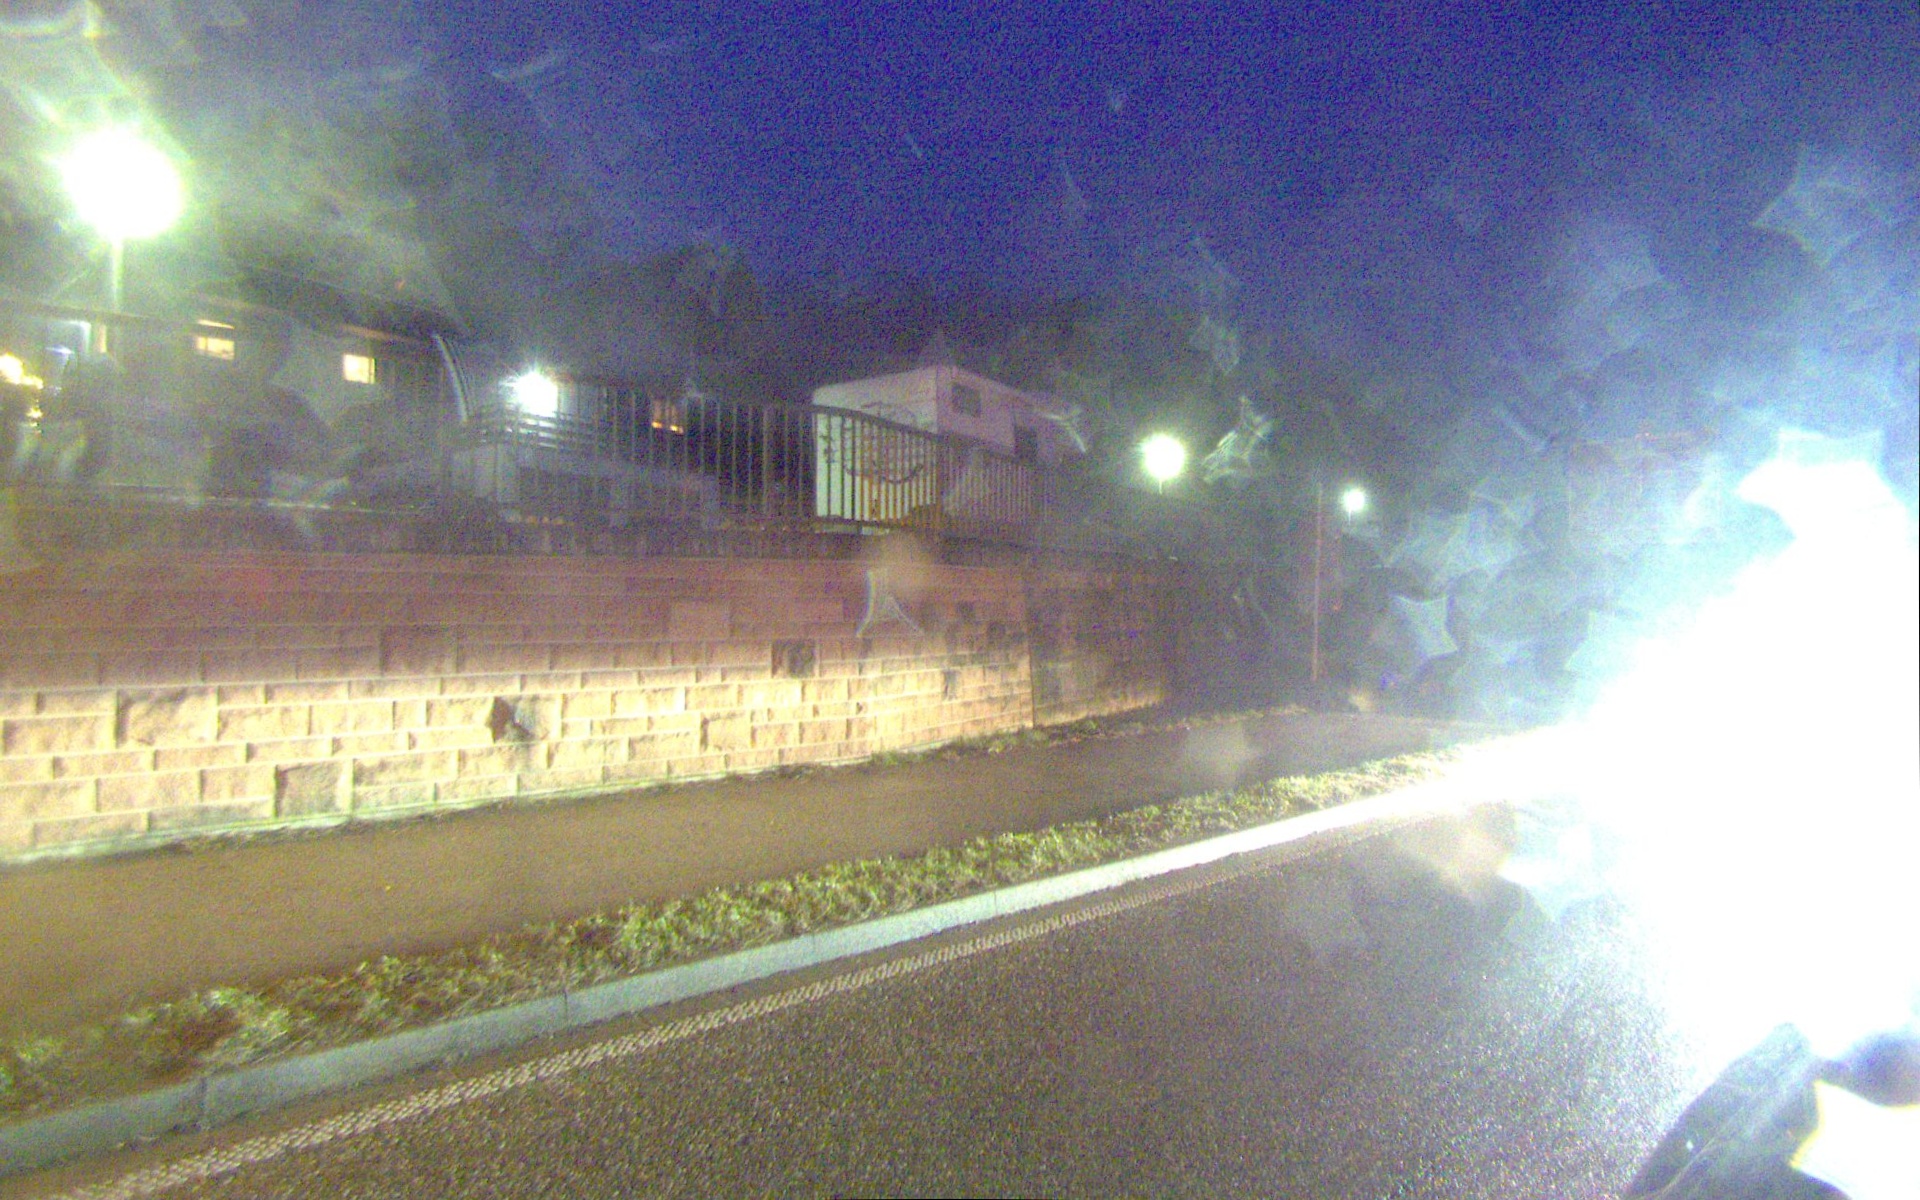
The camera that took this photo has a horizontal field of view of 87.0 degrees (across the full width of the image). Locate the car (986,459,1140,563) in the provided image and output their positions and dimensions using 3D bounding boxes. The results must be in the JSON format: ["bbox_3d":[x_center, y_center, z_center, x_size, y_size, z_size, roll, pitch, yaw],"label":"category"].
[{"bbox_3d":[2.445,-1.935,23.253,1.985,2.039,3.954,0,0,32],"label":"car"}]

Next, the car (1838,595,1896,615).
[{"bbox_3d":[92.769,0.484,103.540,1.958,2.039,4.008,0,0,-22],"label":"car"}]

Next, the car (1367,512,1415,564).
[{"bbox_3d":[25.069,-3.536,58.754,1.922,2.810,4.206,0,0,32],"label":"car"}]

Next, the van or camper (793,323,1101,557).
[{"bbox_3d":[0.079,-2.214,16.238,2.394,2.828,5.712,0,0,30],"label":"van or camper"}]

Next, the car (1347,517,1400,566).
[{"bbox_3d":[22.202,-3.077,54.229,1.922,2.451,4.206,0,0,32],"label":"car"}]

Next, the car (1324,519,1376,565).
[{"bbox_3d":[19.222,-2.812,49.808,1.721,2.039,3.658,0,0,32],"label":"car"}]

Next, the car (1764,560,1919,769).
[{"bbox_3d":[10.226,0.518,9.696,4.838,1.757,1.844,-1,0,-23],"label":"car"}]
